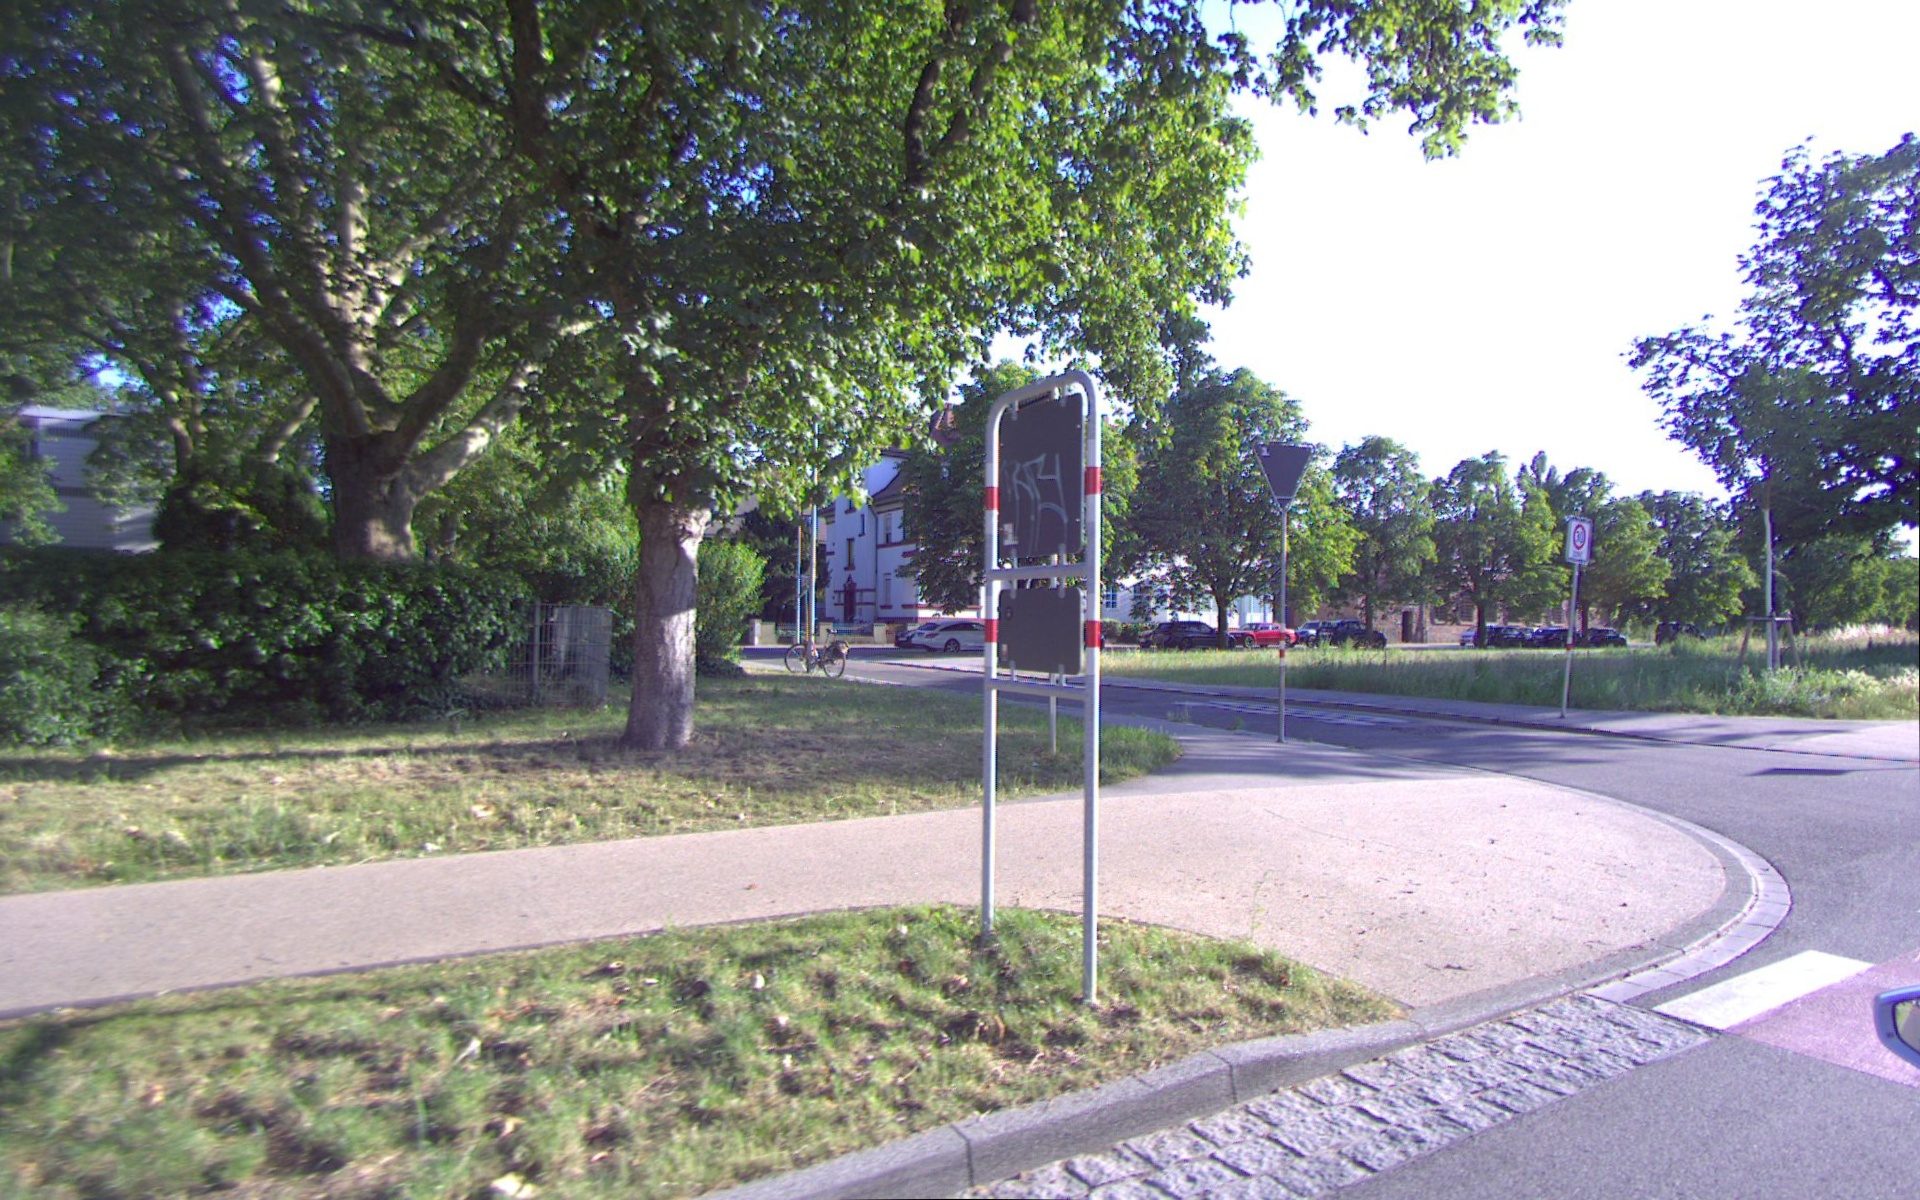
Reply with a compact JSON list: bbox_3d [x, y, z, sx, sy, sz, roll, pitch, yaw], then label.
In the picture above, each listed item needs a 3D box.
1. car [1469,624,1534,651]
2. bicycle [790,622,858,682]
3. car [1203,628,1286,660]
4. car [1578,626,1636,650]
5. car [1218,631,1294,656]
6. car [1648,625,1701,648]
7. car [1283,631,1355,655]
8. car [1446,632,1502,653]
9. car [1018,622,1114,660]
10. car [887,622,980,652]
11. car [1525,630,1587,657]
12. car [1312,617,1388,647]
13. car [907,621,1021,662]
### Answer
[{"bbox_3d":[33.553,2.295,62.221,4.172,1.619,1.684,1,-1,-31],"label":"car"},{"bbox_3d":[-2.866,1.072,21.058,1.564,1.202,0.418,0,-2,38],"label":"bicycle"},{"bbox_3d":[14.271,2.186,50.346,4.174,1.496,1.683,1,-1,-32],"label":"car"},{"bbox_3d":[43.865,2.566,68.081,4.172,1.619,1.684,1,-1,-31],"label":"car"},{"bbox_3d":[17.126,2.500,58.128,4.424,1.350,1.563,1,0,-29],"label":"car"},{"bbox_3d":[52.083,2.637,73.198,4.172,1.619,1.684,1,-1,-31],"label":"car"},{"bbox_3d":[21.785,2.595,60.917,4.424,1.350,1.563,1,0,-29],"label":"car"},{"bbox_3d":[35.820,2.943,69.944,3.953,1.424,1.621,1,-1,-30],"label":"car"},{"bbox_3d":[4.799,1.822,45.334,4.176,1.619,1.683,1,-1,-33],"label":"car"},{"bbox_3d":[-1.250,1.752,47.712,4.176,1.332,1.683,1,-1,-33],"label":"car"},{"bbox_3d":[38.573,2.797,64.990,4.172,1.619,1.684,1,-1,-31],"label":"car"},{"bbox_3d":[21.287,1.737,54.843,4.172,1.619,1.684,1,-1,-31],"label":"car"},{"bbox_3d":[0.211,1.735,42.709,4.705,1.619,1.683,1,-1,-33],"label":"car"}]
